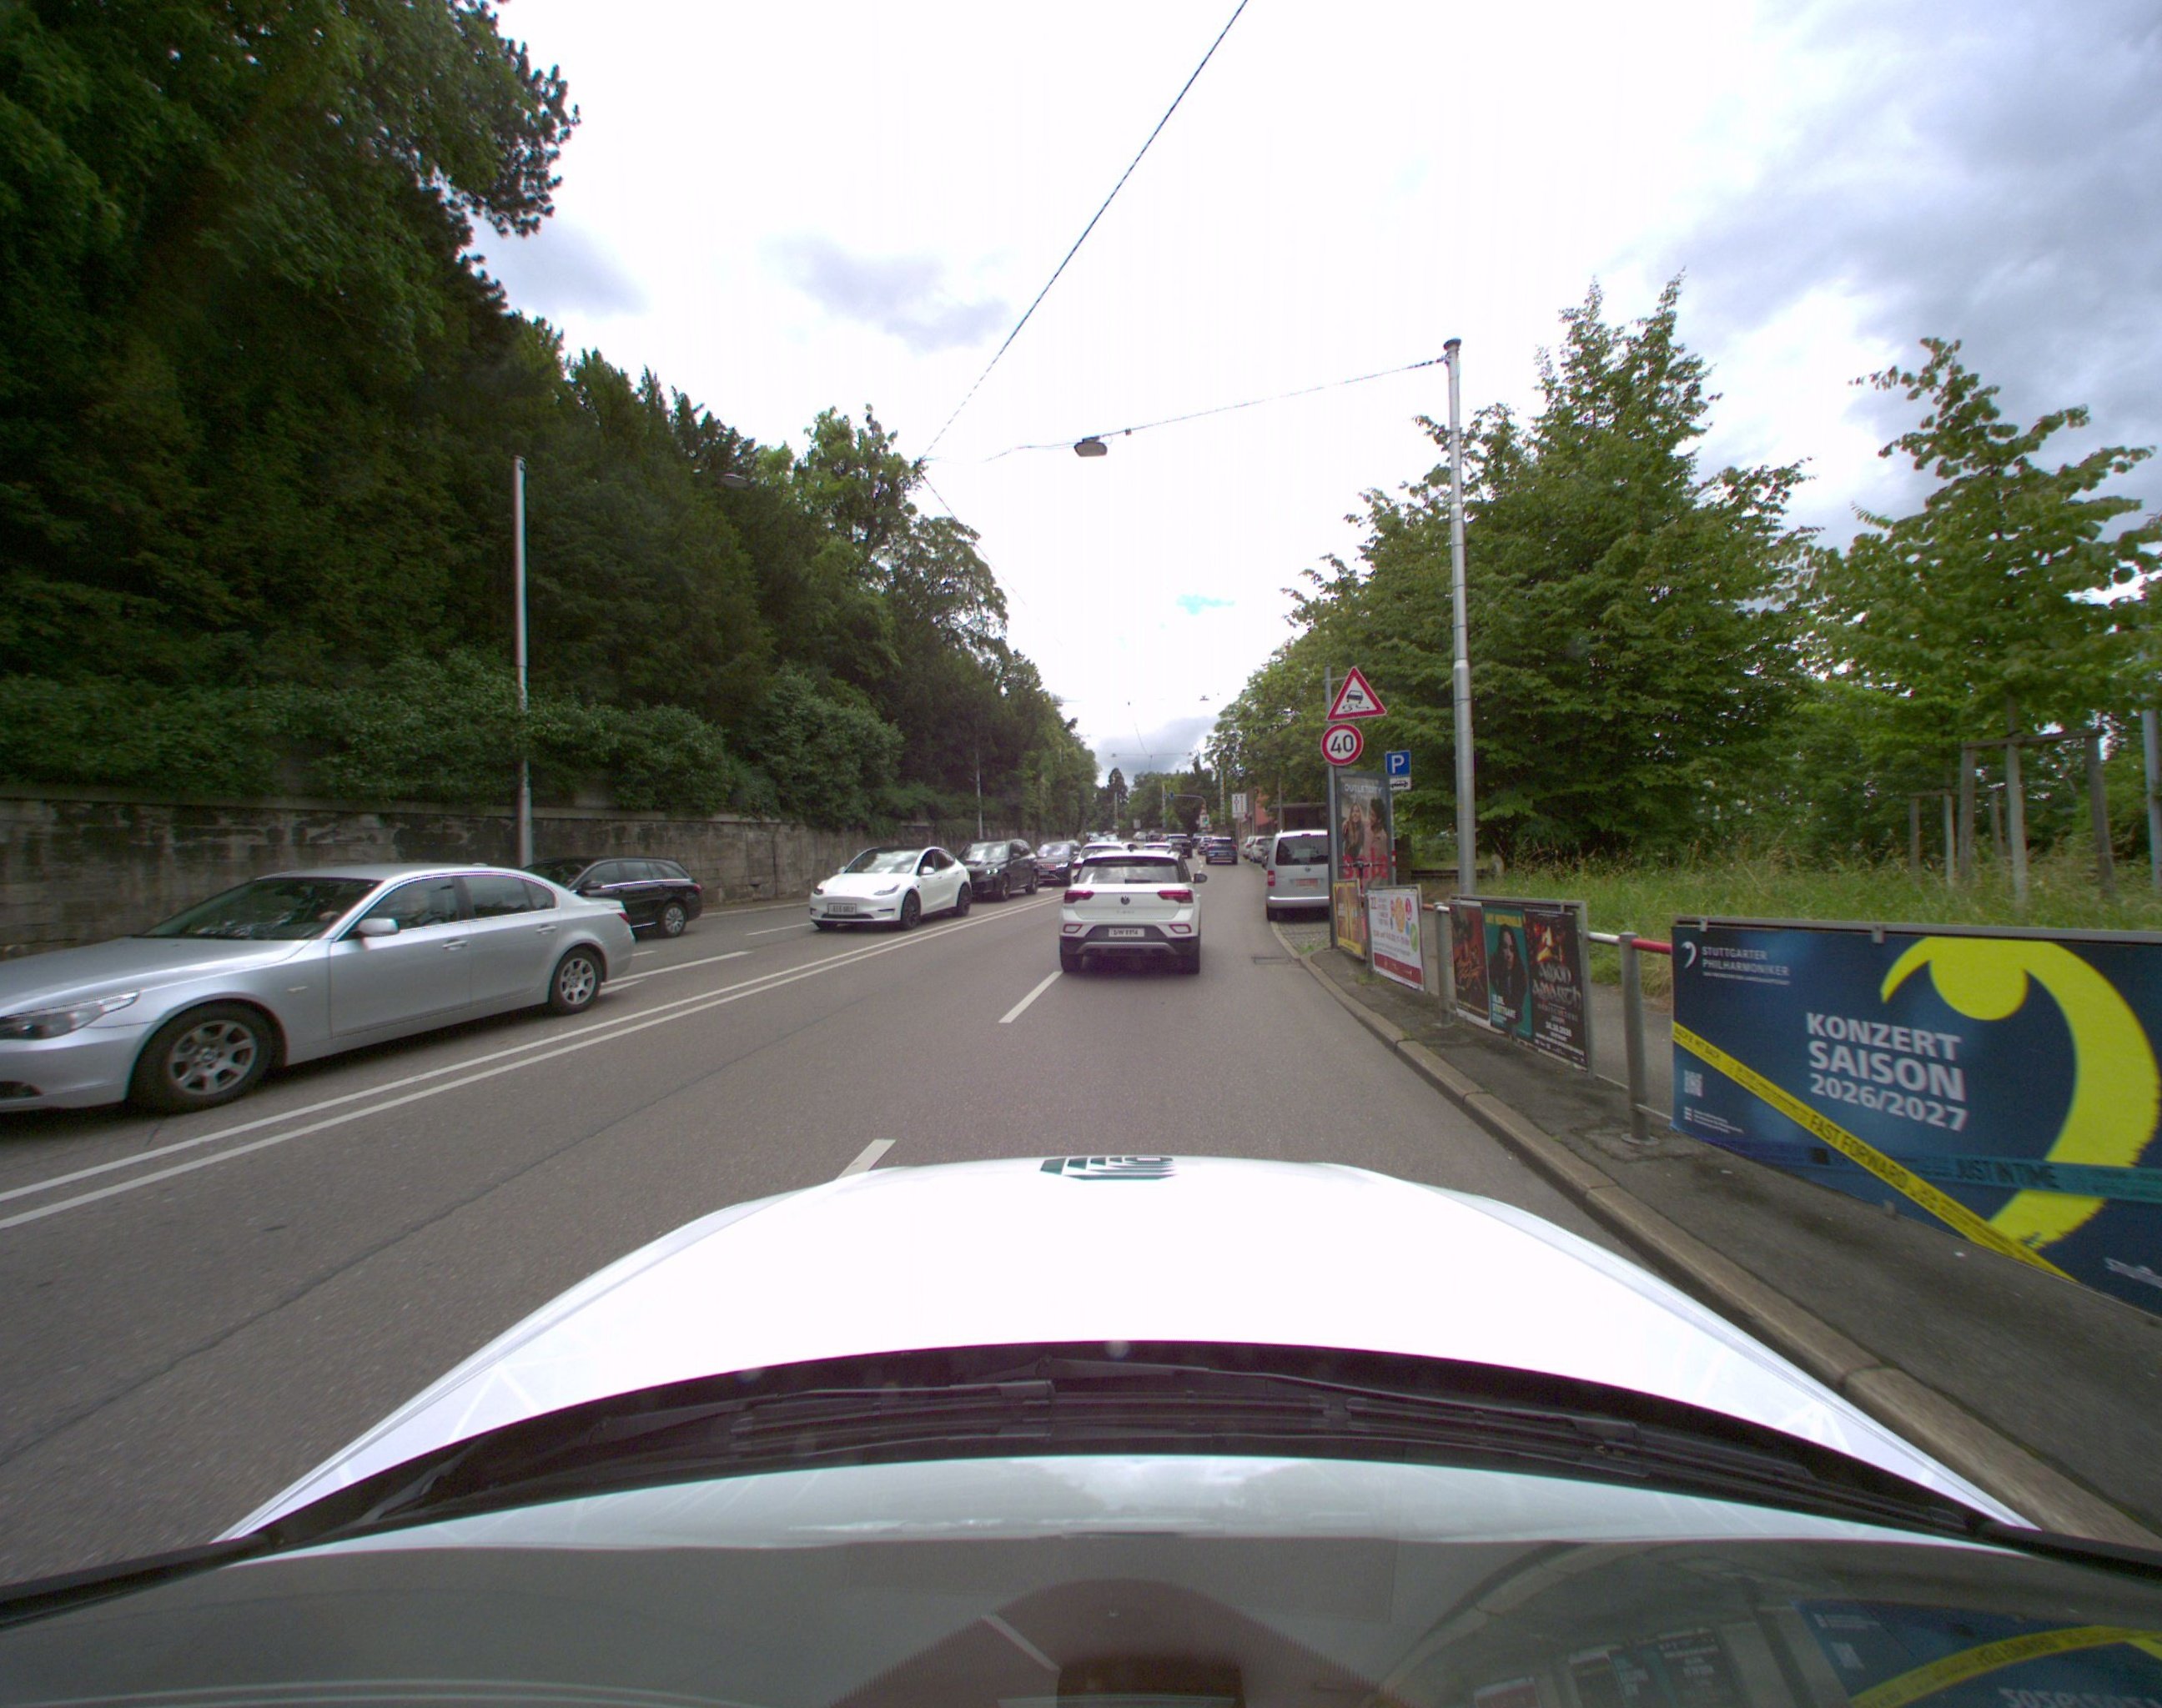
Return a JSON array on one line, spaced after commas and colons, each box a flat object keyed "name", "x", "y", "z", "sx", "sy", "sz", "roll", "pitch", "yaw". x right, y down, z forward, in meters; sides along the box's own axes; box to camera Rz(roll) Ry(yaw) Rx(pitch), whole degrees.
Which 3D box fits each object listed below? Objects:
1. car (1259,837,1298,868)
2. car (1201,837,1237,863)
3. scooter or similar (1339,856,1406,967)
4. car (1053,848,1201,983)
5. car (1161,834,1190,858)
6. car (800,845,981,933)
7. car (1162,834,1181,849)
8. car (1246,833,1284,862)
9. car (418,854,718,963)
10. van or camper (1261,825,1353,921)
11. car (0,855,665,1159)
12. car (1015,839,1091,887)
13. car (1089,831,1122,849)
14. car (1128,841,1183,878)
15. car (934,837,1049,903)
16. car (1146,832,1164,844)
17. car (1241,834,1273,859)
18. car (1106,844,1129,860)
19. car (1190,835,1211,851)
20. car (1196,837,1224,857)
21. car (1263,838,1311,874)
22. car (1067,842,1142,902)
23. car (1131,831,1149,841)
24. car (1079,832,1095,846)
[{"name": "car", "x": 9.860, "y": -0.100, "z": 40.895, "sx": 1.552, "sy": 1.422, "sz": 3.433, "roll": -4, "pitch": 1, "yaw": 9}, {"name": "car", "x": 8.093, "y": -0.232, "z": 47.885, "sx": 1.982, "sy": 1.414, "sz": 4.161, "roll": -2, "pitch": 1, "yaw": 9}, {"name": "scooter or similar", "x": 3.734, "y": 0.699, "z": 10.529, "sx": 0.513, "sy": 1.289, "sz": 1.491, "roll": -3, "pitch": 0, "yaw": 10}, {"name": "car", "x": 0.764, "y": 0.709, "z": 11.548, "sx": 1.748, "sy": 1.555, "sz": 3.803, "roll": 0, "pitch": 1, "yaw": 7}, {"name": "car", "x": 6.631, "y": -0.575, "z": 56.911, "sx": 1.983, "sy": 1.556, "sz": 4.160, "roll": 0, "pitch": 2, "yaw": 7}, {"name": "car", "x": -3.791, "y": 0.614, "z": 17.250, "sx": 1.825, "sy": 1.554, "sz": 4.805, "roll": -1, "pitch": 1, "yaw": 12}, {"name": "car", "x": 8.949, "y": -1.217, "z": 80.760, "sx": 1.771, "sy": 1.454, "sz": 4.007, "roll": 0, "pitch": 1, "yaw": 6}, {"name": "car", "x": 10.926, "y": -0.414, "z": 48.496, "sx": 1.706, "sy": 1.471, "sz": 4.047, "roll": -5, "pitch": 1, "yaw": 7}, {"name": "car", "x": -8.230, "y": 0.763, "z": 13.560, "sx": 1.719, "sy": 1.452, "sz": 4.068, "roll": 0, "pitch": 1, "yaw": 17}, {"name": "van or camper", "x": 4.921, "y": 0.352, "z": 17.942, "sx": 1.686, "sy": 1.845, "sz": 4.259, "roll": -1, "pitch": 0, "yaw": 14}, {"name": "car", "x": -5.952, "y": 0.820, "z": 6.689, "sx": 1.982, "sy": 1.469, "sz": 4.890, "roll": -2, "pitch": 1, "yaw": 8}, {"name": "car", "x": -0.986, "y": 0.288, "z": 31.336, "sx": 1.836, "sy": 1.651, "sz": 4.639, "roll": -3, "pitch": 1, "yaw": 11}, {"name": "car", "x": 2.164, "y": -1.167, "z": 69.563, "sx": 1.989, "sy": 1.409, "sz": 4.770, "roll": -2, "pitch": 1, "yaw": 11}, {"name": "car", "x": 3.351, "y": 0.186, "z": 35.916, "sx": 1.981, "sy": 1.489, "sz": 4.163, "roll": -2, "pitch": 1, "yaw": 11}, {"name": "car", "x": -2.550, "y": 0.407, "z": 24.681, "sx": 1.946, "sy": 1.749, "sz": 4.895, "roll": -2, "pitch": 1, "yaw": 12}, {"name": "car", "x": 10.438, "y": -2.238, "z": 115.080, "sx": 1.989, "sy": 1.575, "sz": 4.146, "roll": -1, "pitch": 1, "yaw": -3}, {"name": "car", "x": 11.630, "y": -0.515, "z": 53.993, "sx": 1.666, "sy": 1.461, "sz": 4.376, "roll": -3, "pitch": 1, "yaw": 8}, {"name": "car", "x": 3.710, "y": -0.221, "z": 82.508, "sx": 1.832, "sy": 1.436, "sz": 4.010, "roll": -2, "pitch": 1, "yaw": 9}, {"name": "car", "x": 11.827, "y": -1.097, "z": 80.706, "sx": 1.983, "sy": 1.450, "sz": 4.160, "roll": -1, "pitch": 1, "yaw": 7}, {"name": "car", "x": 9.993, "y": -0.534, "z": 63.286, "sx": 1.983, "sy": 1.450, "sz": 4.160, "roll": -1, "pitch": 1, "yaw": 7}, {"name": "car", "x": 8.907, "y": 0.038, "z": 35.467, "sx": 1.758, "sy": 1.398, "sz": 4.566, "roll": -3, "pitch": 1, "yaw": 11}, {"name": "car", "x": 0.777, "y": 0.452, "z": 23.801, "sx": 1.748, "sy": 1.609, "sz": 3.805, "roll": 1, "pitch": 1, "yaw": 8}, {"name": "car", "x": 9.231, "y": -2.777, "z": 127.408, "sx": 1.992, "sy": 1.450, "sz": 4.140, "roll": -1, "pitch": 1, "yaw": -7}, {"name": "car", "x": 0.798, "y": -2.137, "z": 117.147, "sx": 1.990, "sy": 1.754, "sz": 3.994, "roll": 0, "pitch": -1, "yaw": -4}]
